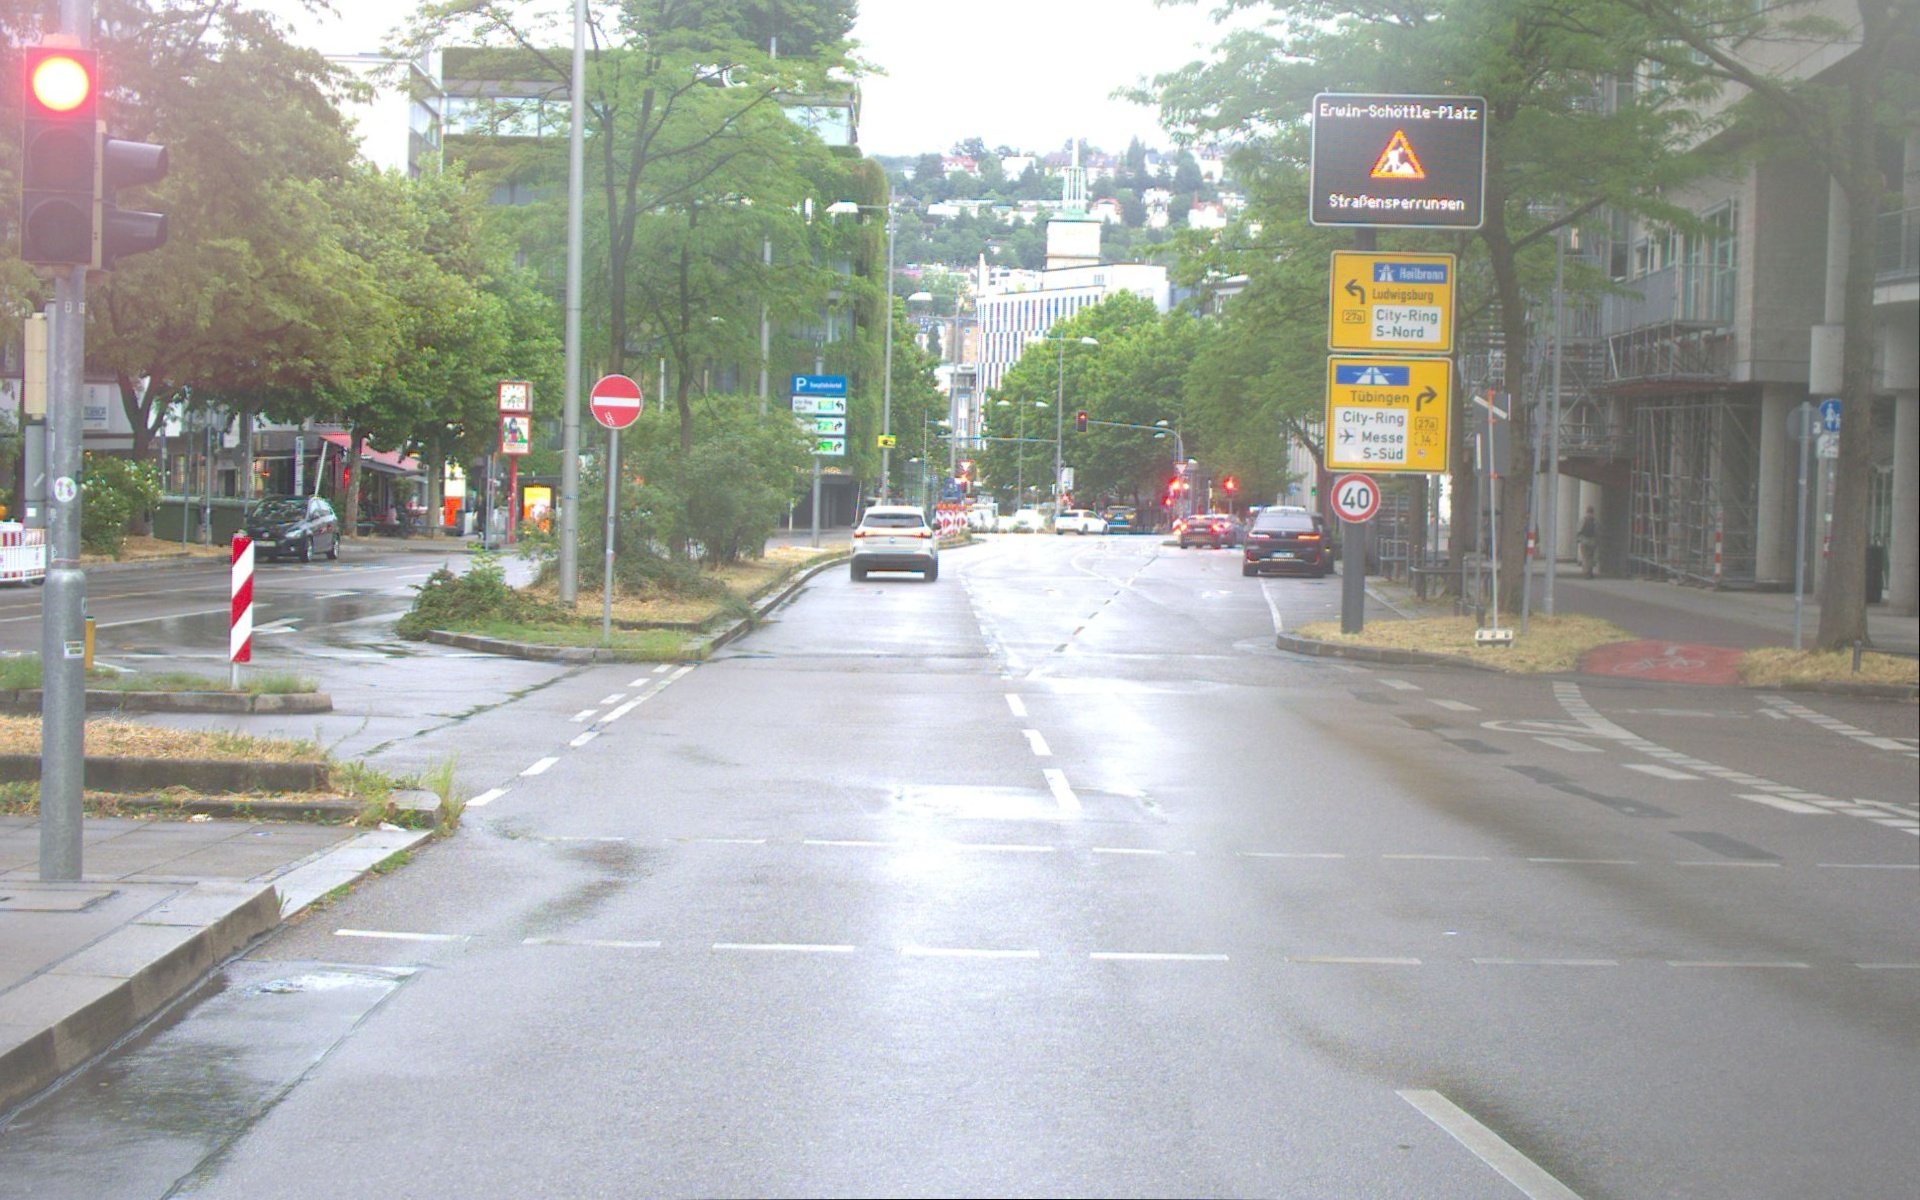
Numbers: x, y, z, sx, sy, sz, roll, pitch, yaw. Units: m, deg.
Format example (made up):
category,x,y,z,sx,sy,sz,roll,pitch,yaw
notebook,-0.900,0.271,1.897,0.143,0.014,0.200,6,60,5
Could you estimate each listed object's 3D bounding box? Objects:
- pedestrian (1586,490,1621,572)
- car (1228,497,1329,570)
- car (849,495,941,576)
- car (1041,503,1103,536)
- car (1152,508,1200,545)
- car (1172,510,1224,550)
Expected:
category,x,y,z,sx,sy,sz,roll,pitch,yaw
pedestrian,15.224,-1.630,81.392,0.775,1.914,0.702,1,0,10
car,7.761,-1.630,83.408,2.339,1.685,3.999,1,2,6
car,-1.458,-1.411,75.160,1.828,1.634,4.301,2,1,-3
car,6.488,-4.676,199.274,1.997,1.752,3.994,3,1,28
car,10.462,-3.546,166.784,1.993,1.730,4.000,1,0,-1
car,10.728,-3.139,155.211,1.993,1.718,4.000,1,0,-1
